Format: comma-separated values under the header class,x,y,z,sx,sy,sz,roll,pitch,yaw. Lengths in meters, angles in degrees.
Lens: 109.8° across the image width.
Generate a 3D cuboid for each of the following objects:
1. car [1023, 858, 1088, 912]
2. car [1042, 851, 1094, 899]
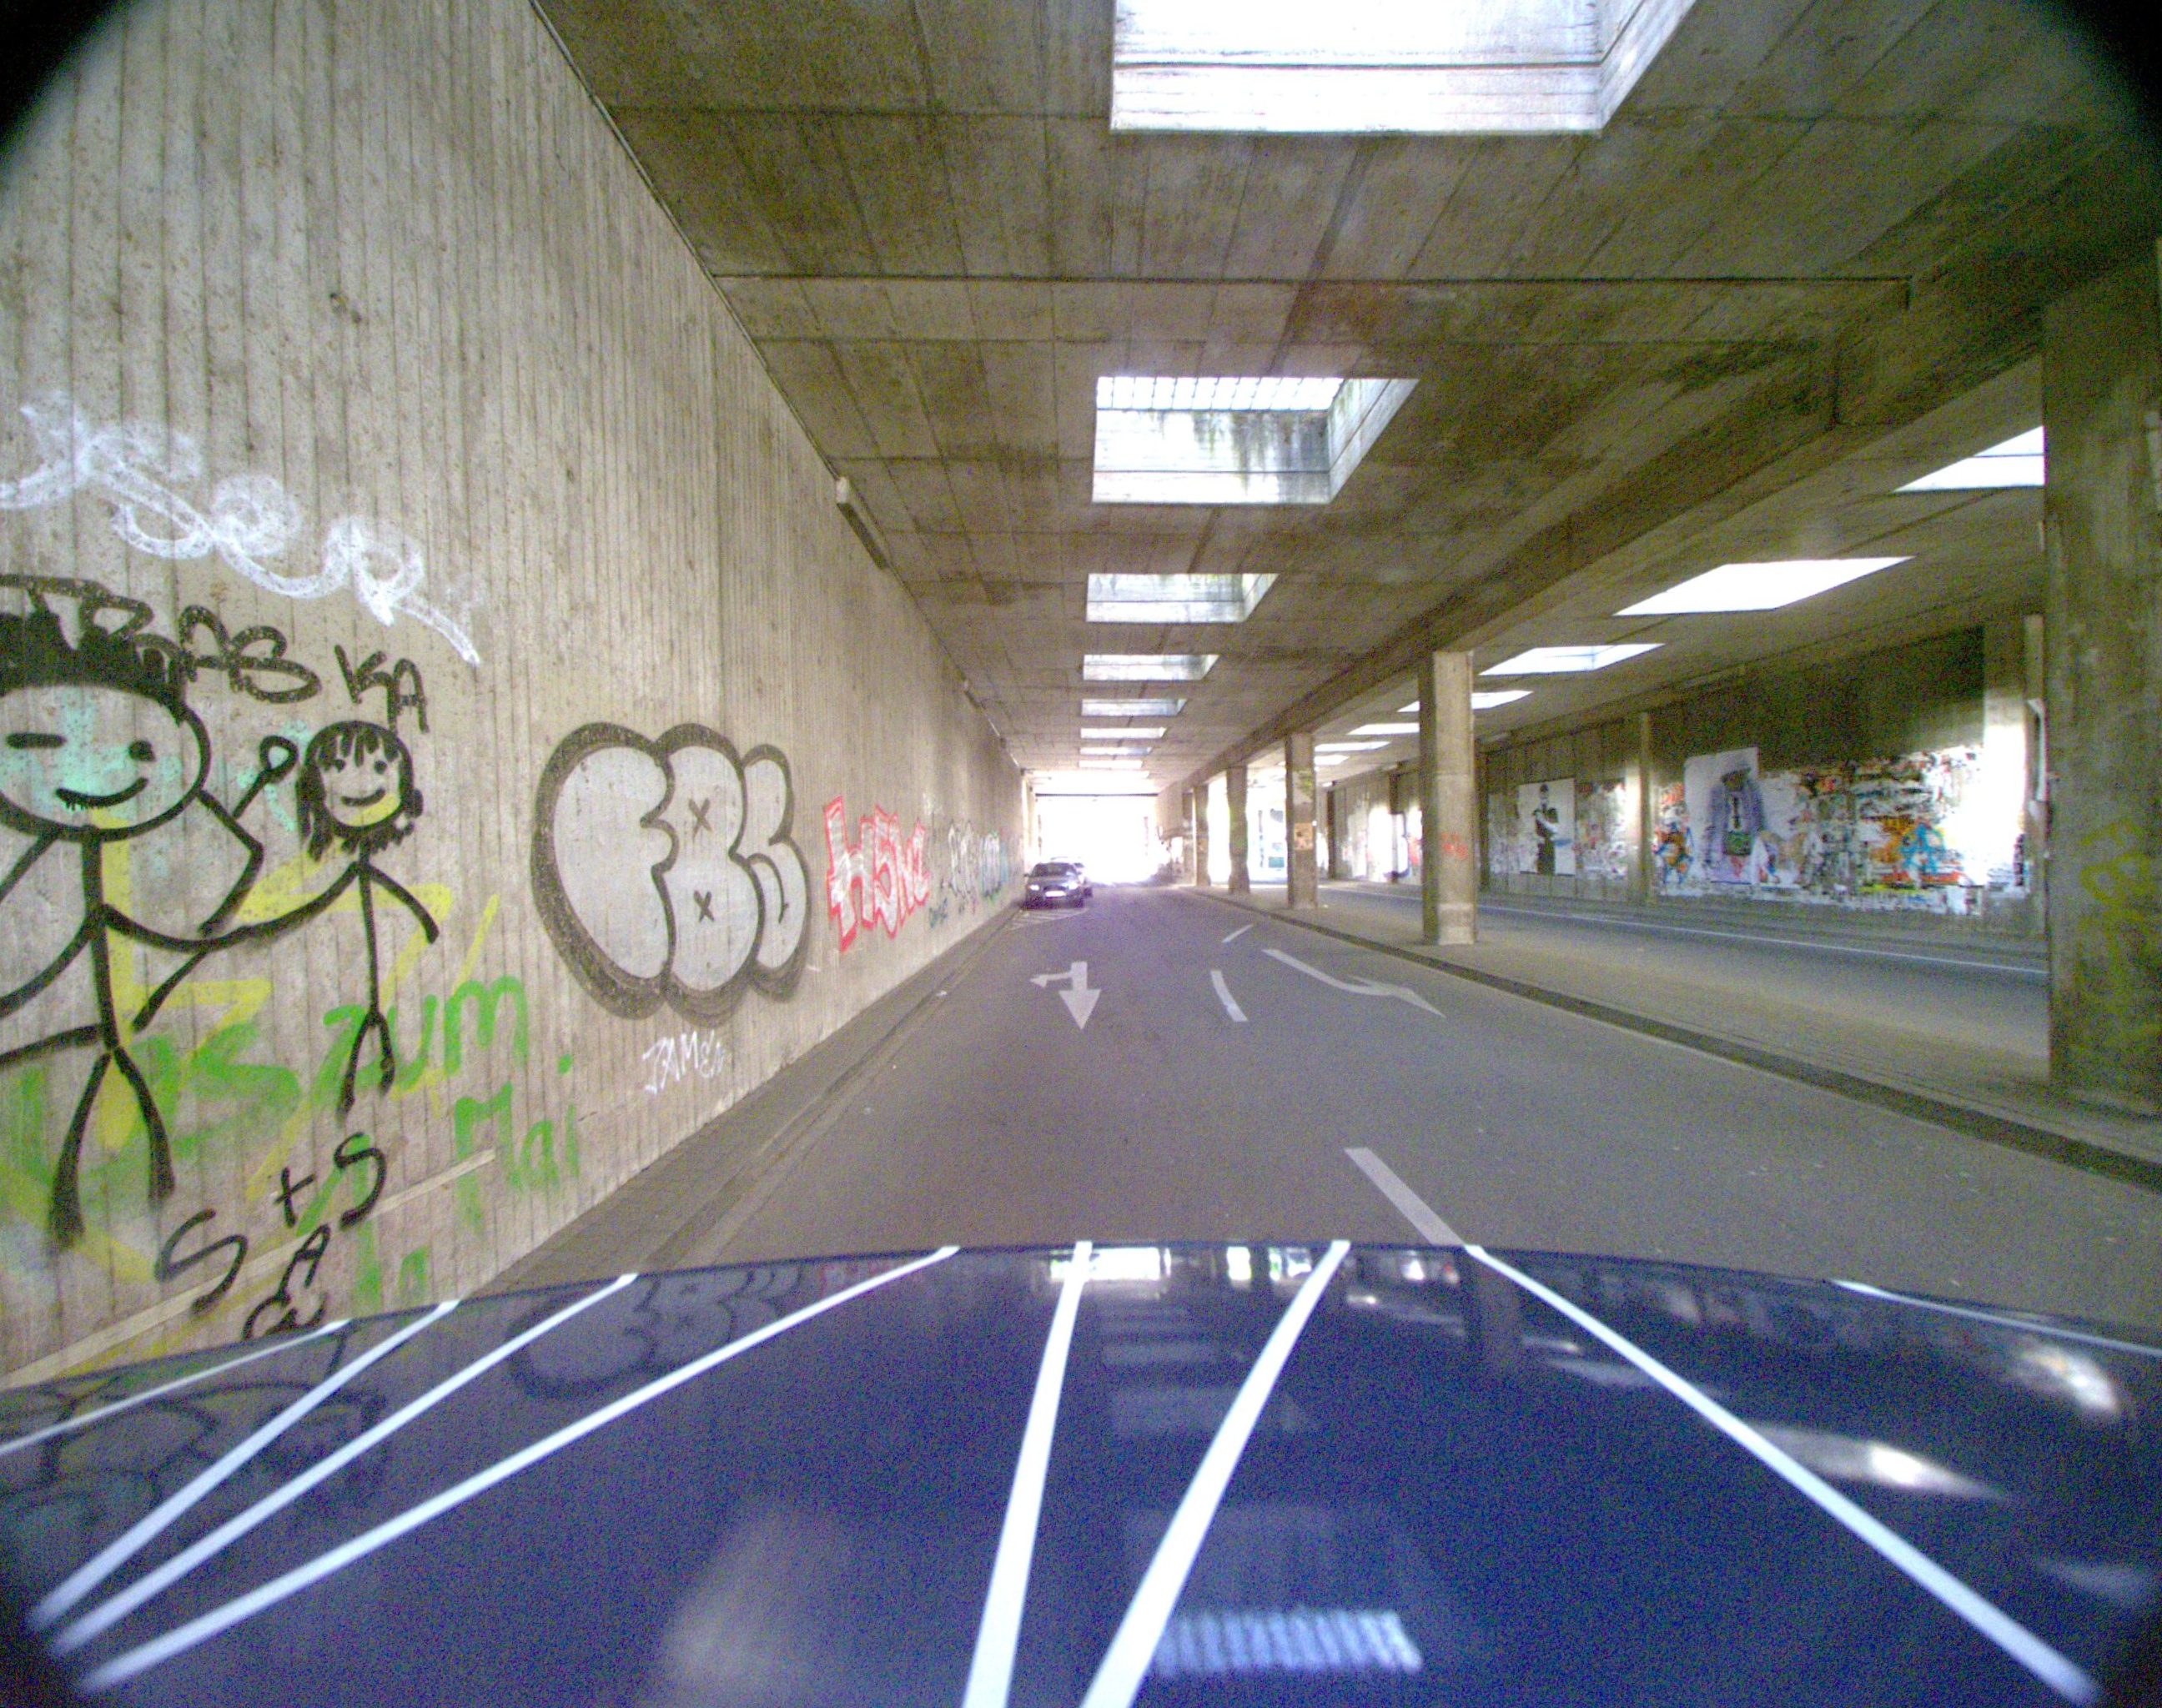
class,x,y,z,sx,sy,sz,roll,pitch,yaw
car,-0.720,0.908,24.029,1.808,1.460,4.000,-2,0,1
car,-0.450,0.762,29.836,1.861,1.709,4.000,-2,0,1
